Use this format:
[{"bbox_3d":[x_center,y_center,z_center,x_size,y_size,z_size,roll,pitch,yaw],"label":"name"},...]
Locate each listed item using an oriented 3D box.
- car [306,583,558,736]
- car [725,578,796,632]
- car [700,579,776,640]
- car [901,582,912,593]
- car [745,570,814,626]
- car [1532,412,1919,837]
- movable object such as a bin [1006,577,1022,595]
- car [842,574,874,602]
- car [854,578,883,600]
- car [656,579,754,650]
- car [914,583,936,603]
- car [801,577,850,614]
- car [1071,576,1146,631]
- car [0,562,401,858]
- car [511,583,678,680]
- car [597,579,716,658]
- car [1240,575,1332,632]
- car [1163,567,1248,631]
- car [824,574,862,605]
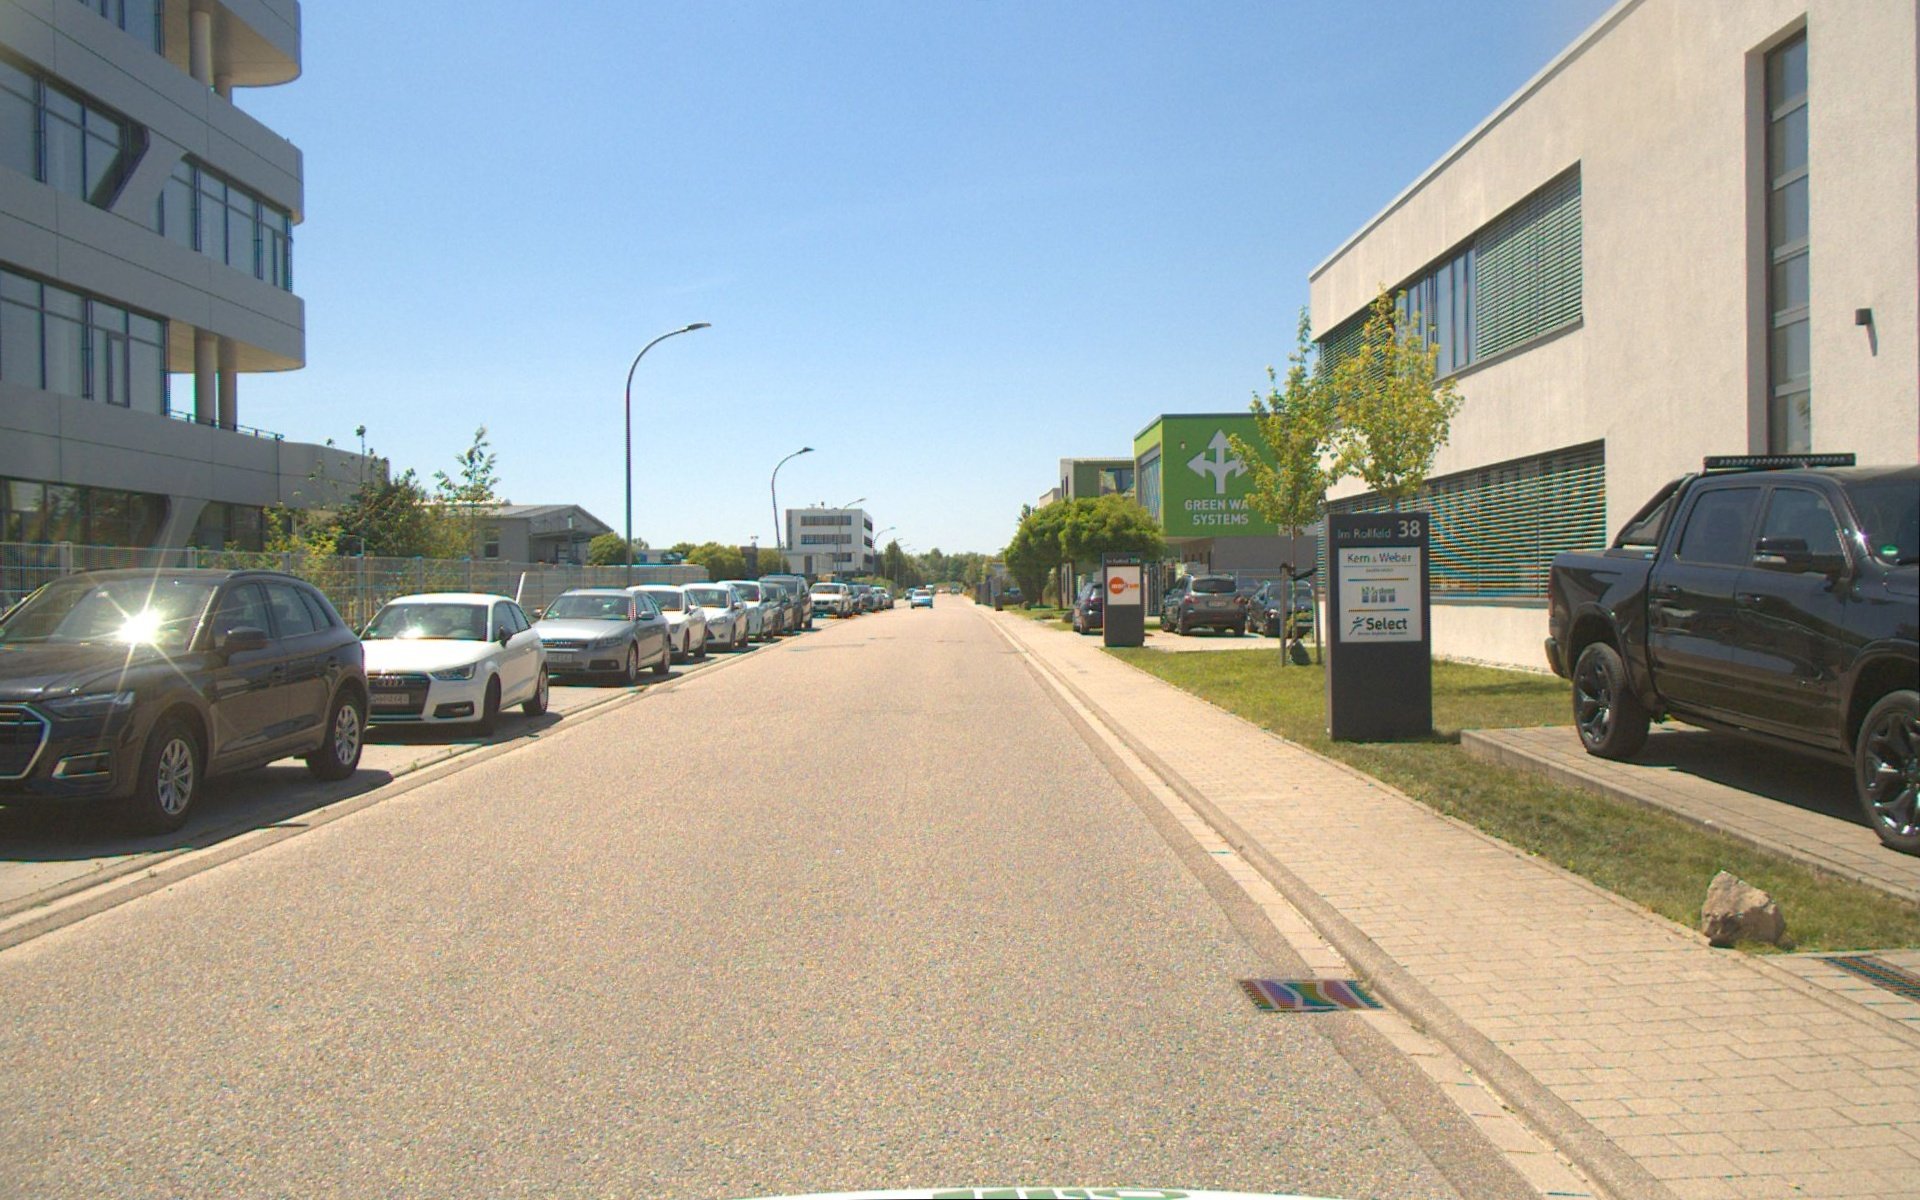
[{"bbox_3d":[-5.627,0.561,18.108,1.665,1.410,3.935,-1,1,-3],"label":"car"},{"bbox_3d":[-5.912,0.114,49.424,1.601,1.526,3.972,0,1,0],"label":"car"},{"bbox_3d":[-5.923,0.222,44.407,1.601,1.563,3.657,0,1,-1],"label":"car"},{"bbox_3d":[-7.445,-1.764,231.445,1.437,1.515,3.207,-1,1,0],"label":"car"},{"bbox_3d":[-5.867,-0.097,54.147,1.766,1.749,4.622,0,1,0],"label":"car"},{"bbox_3d":[5.535,-0.008,10.020,1.953,2.048,5.799,-1,3,-2],"label":"car"},{"bbox_3d":[4.598,-1.170,141.986,1.307,1.485,0.948,-1,0,-1],"label":"movable object such as a bin"},{"bbox_3d":[-6.177,-0.725,100.783,1.754,1.635,4.462,0,0,-1],"label":"car"},{"bbox_3d":[-6.437,-0.773,116.791,1.819,1.506,4.229,0,0,-1],"label":"car"},{"bbox_3d":[-5.899,0.290,38.754,1.668,1.563,4.571,0,1,-1],"label":"car"},{"bbox_3d":[-2.775,-0.552,131.880,1.669,1.435,4.784,-3,1,-1],"label":"car"},{"bbox_3d":[-6.017,-0.216,74.211,1.750,1.569,4.365,0,1,1],"label":"car"},{"bbox_3d":[4.078,0.064,45.846,1.657,1.453,4.246,0,1,-1],"label":"car"},{"bbox_3d":[-5.774,0.579,11.907,1.733,1.680,4.852,0,1,1],"label":"car"},{"bbox_3d":[-5.802,0.462,26.759,1.649,1.410,4.639,0,0,0],"label":"car"},{"bbox_3d":[-6.063,0.314,33.441,1.668,1.469,4.439,0,1,-1],"label":"car"},{"bbox_3d":[8.821,0.058,45.088,1.688,1.475,4.022,0,1,-1],"label":"car"},{"bbox_3d":[6.705,-0.055,45.506,1.688,1.661,4.022,0,1,-1],"label":"car"},{"bbox_3d":[-6.137,-0.560,86.995,1.727,1.544,4.379,0,1,-1],"label":"car"}]
